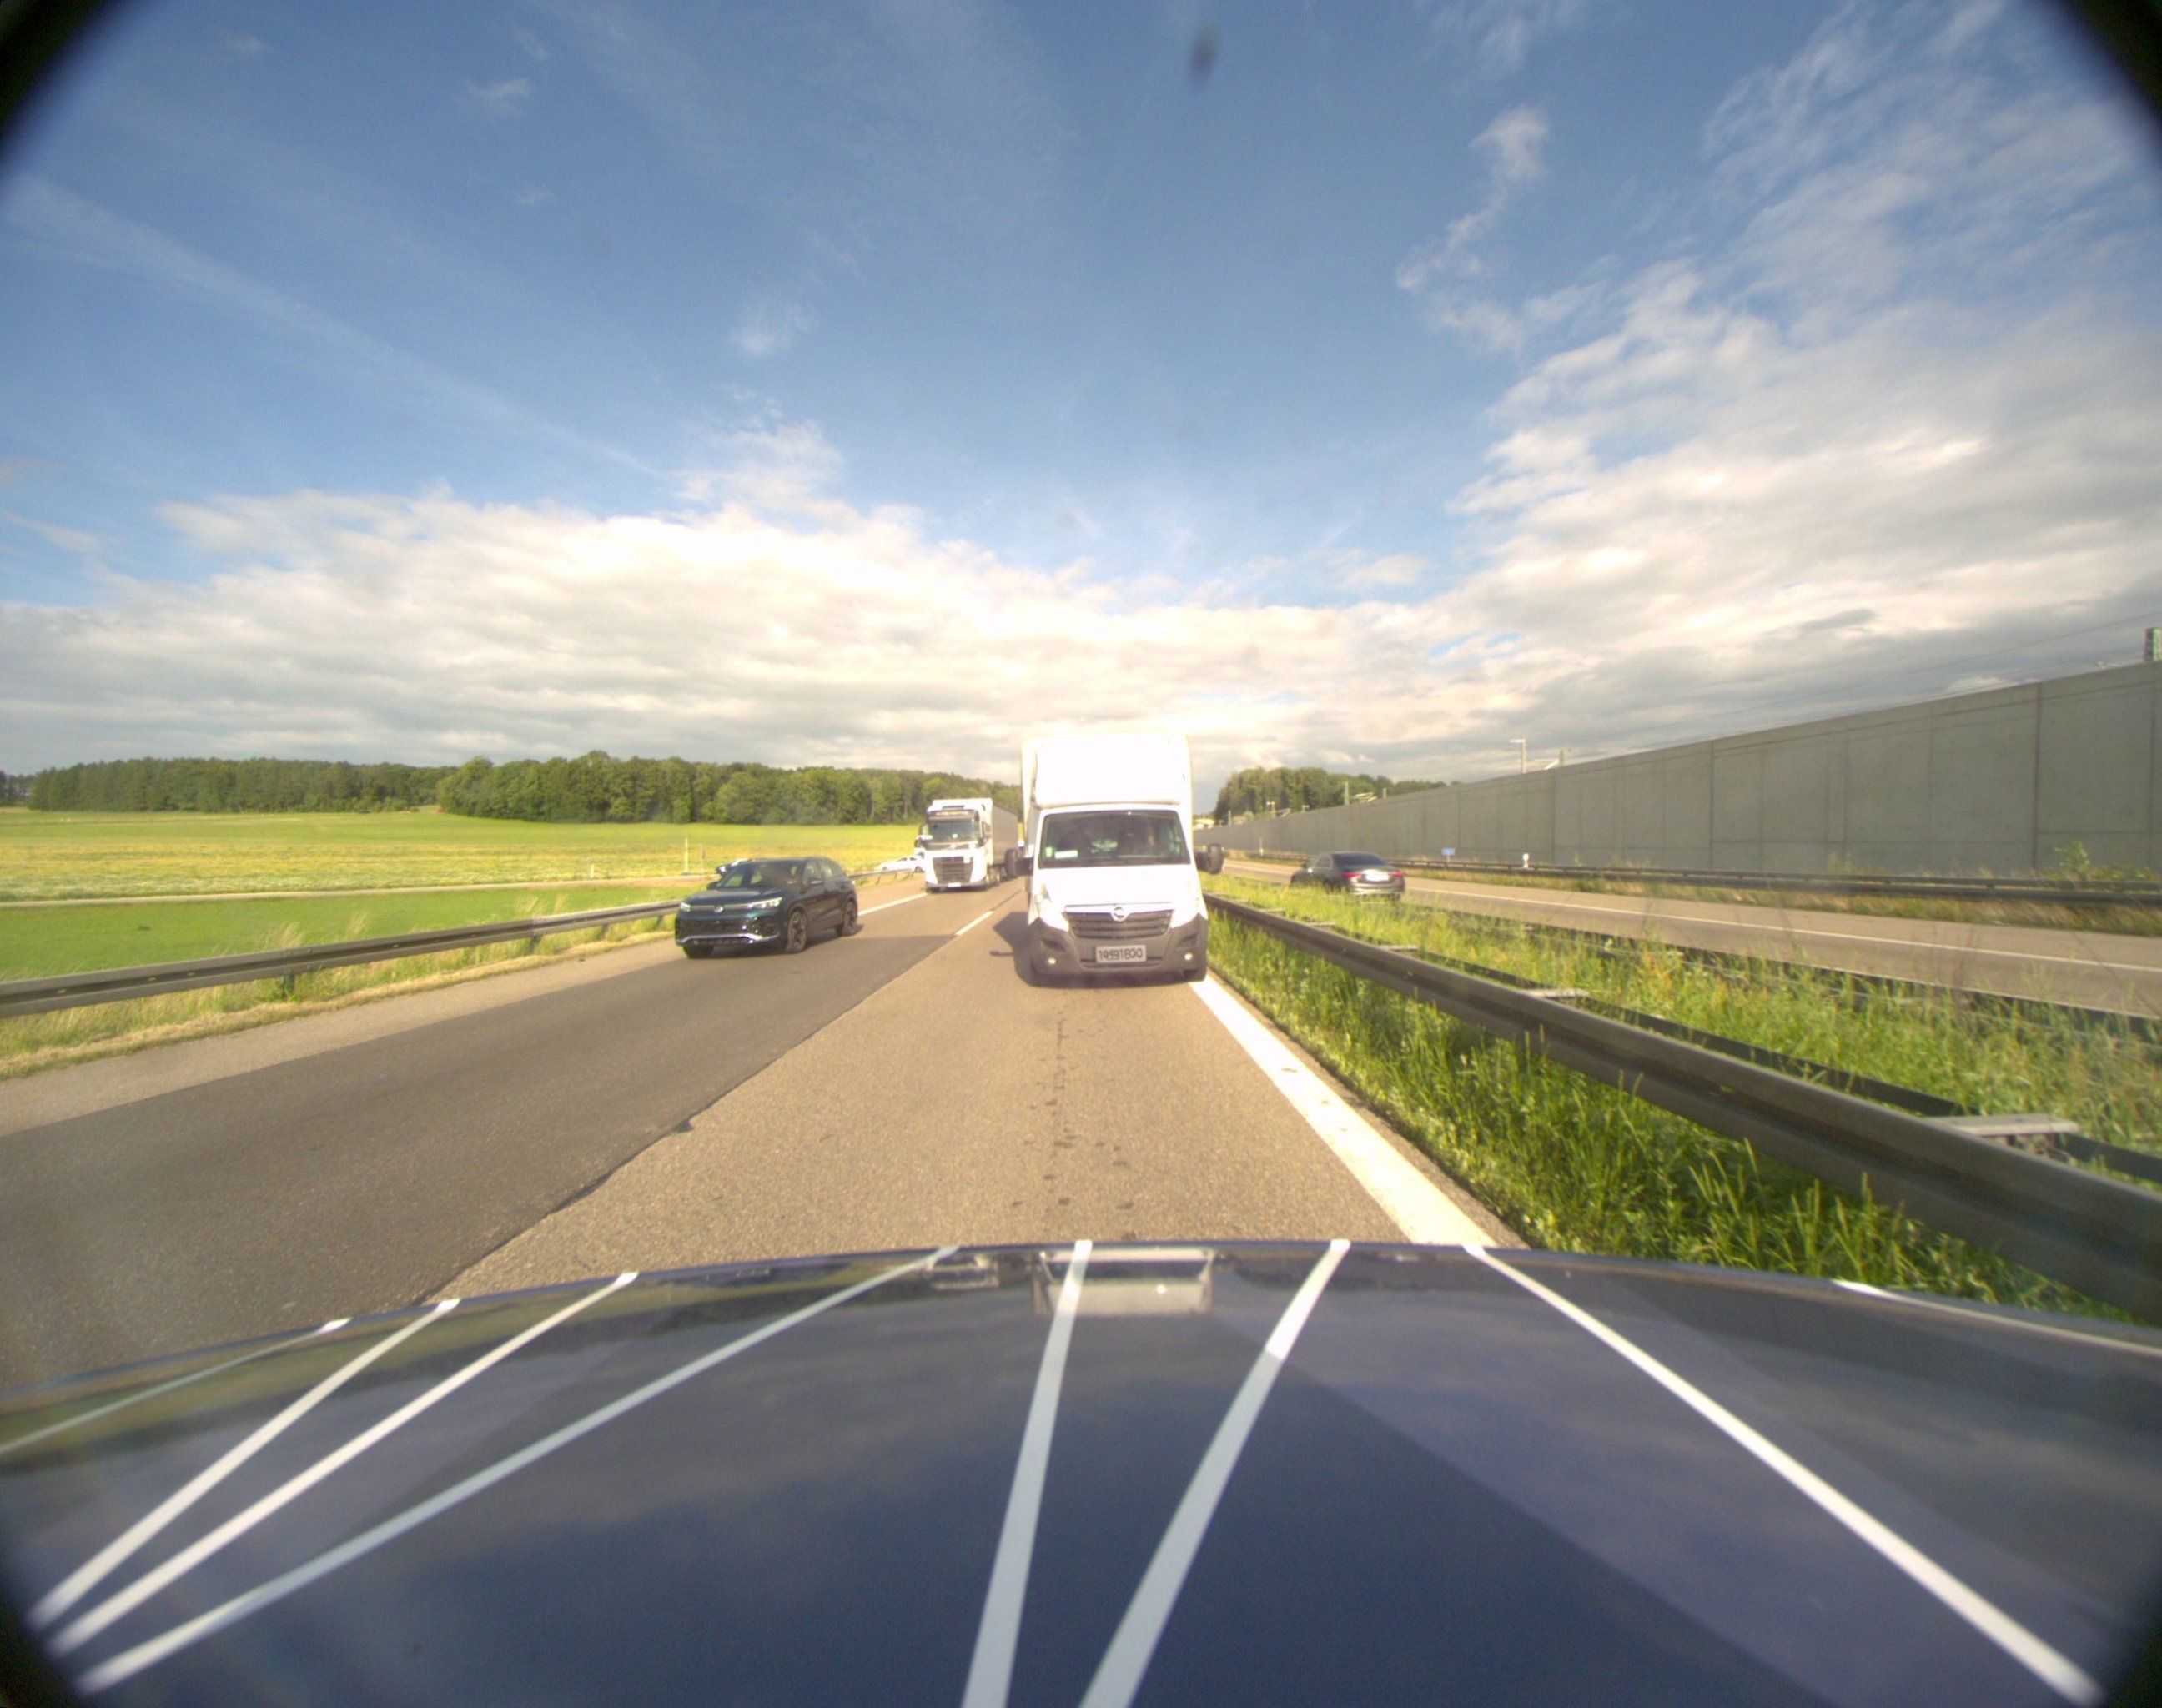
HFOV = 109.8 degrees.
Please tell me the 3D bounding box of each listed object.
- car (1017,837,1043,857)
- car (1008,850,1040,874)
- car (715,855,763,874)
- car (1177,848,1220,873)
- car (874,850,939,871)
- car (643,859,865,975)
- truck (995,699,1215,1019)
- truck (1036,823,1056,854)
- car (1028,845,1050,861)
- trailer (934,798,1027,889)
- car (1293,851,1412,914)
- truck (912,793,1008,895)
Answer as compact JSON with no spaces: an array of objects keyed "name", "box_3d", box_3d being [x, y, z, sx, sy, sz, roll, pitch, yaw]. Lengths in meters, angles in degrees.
[{"name":"car","box_3d":[-4.538,-0.616,68.370,1.998,1.647,3.999,-2,1,1]},{"name":"car","box_3d":[-4.262,0.602,57.584,1.998,1.647,3.999,-2,1,1]},{"name":"car","box_3d":[-31.064,0.956,69.038,3.567,1.521,1.720,-3,1,-38]},{"name":"car","box_3d":[7.667,0.397,49.884,1.999,1.477,4.397,-2,1,-2]},{"name":"car","box_3d":[-15.031,0.557,65.632,5.074,1.537,2.001,-2,1,8]},{"name":"car","box_3d":[-5.503,0.966,13.499,1.998,1.587,4.119,-2,1,2]},{"name":"truck","box_3d":[0.348,0.000,11.405,2.059,3.088,7.803,-2,1,2]},{"name":"truck","box_3d":[-4.254,-1.886,92.929,1.998,3.663,5.931,-2,1,1]},{"name":"car","box_3d":[-4.513,-0.117,82.106,1.998,1.647,3.999,-2,1,1]},{"name":"trailer","box_3d":[-4.920,-0.561,40.057,2.826,3.959,12.127,-2,1,2]},{"name":"car","box_3d":[7.649,0.737,21.932,1.808,1.508,4.690,-2,1,1]},{"name":"truck","box_3d":[-5.158,-0.455,33.604,2.842,3.967,6.500,-2,1,2]}]
